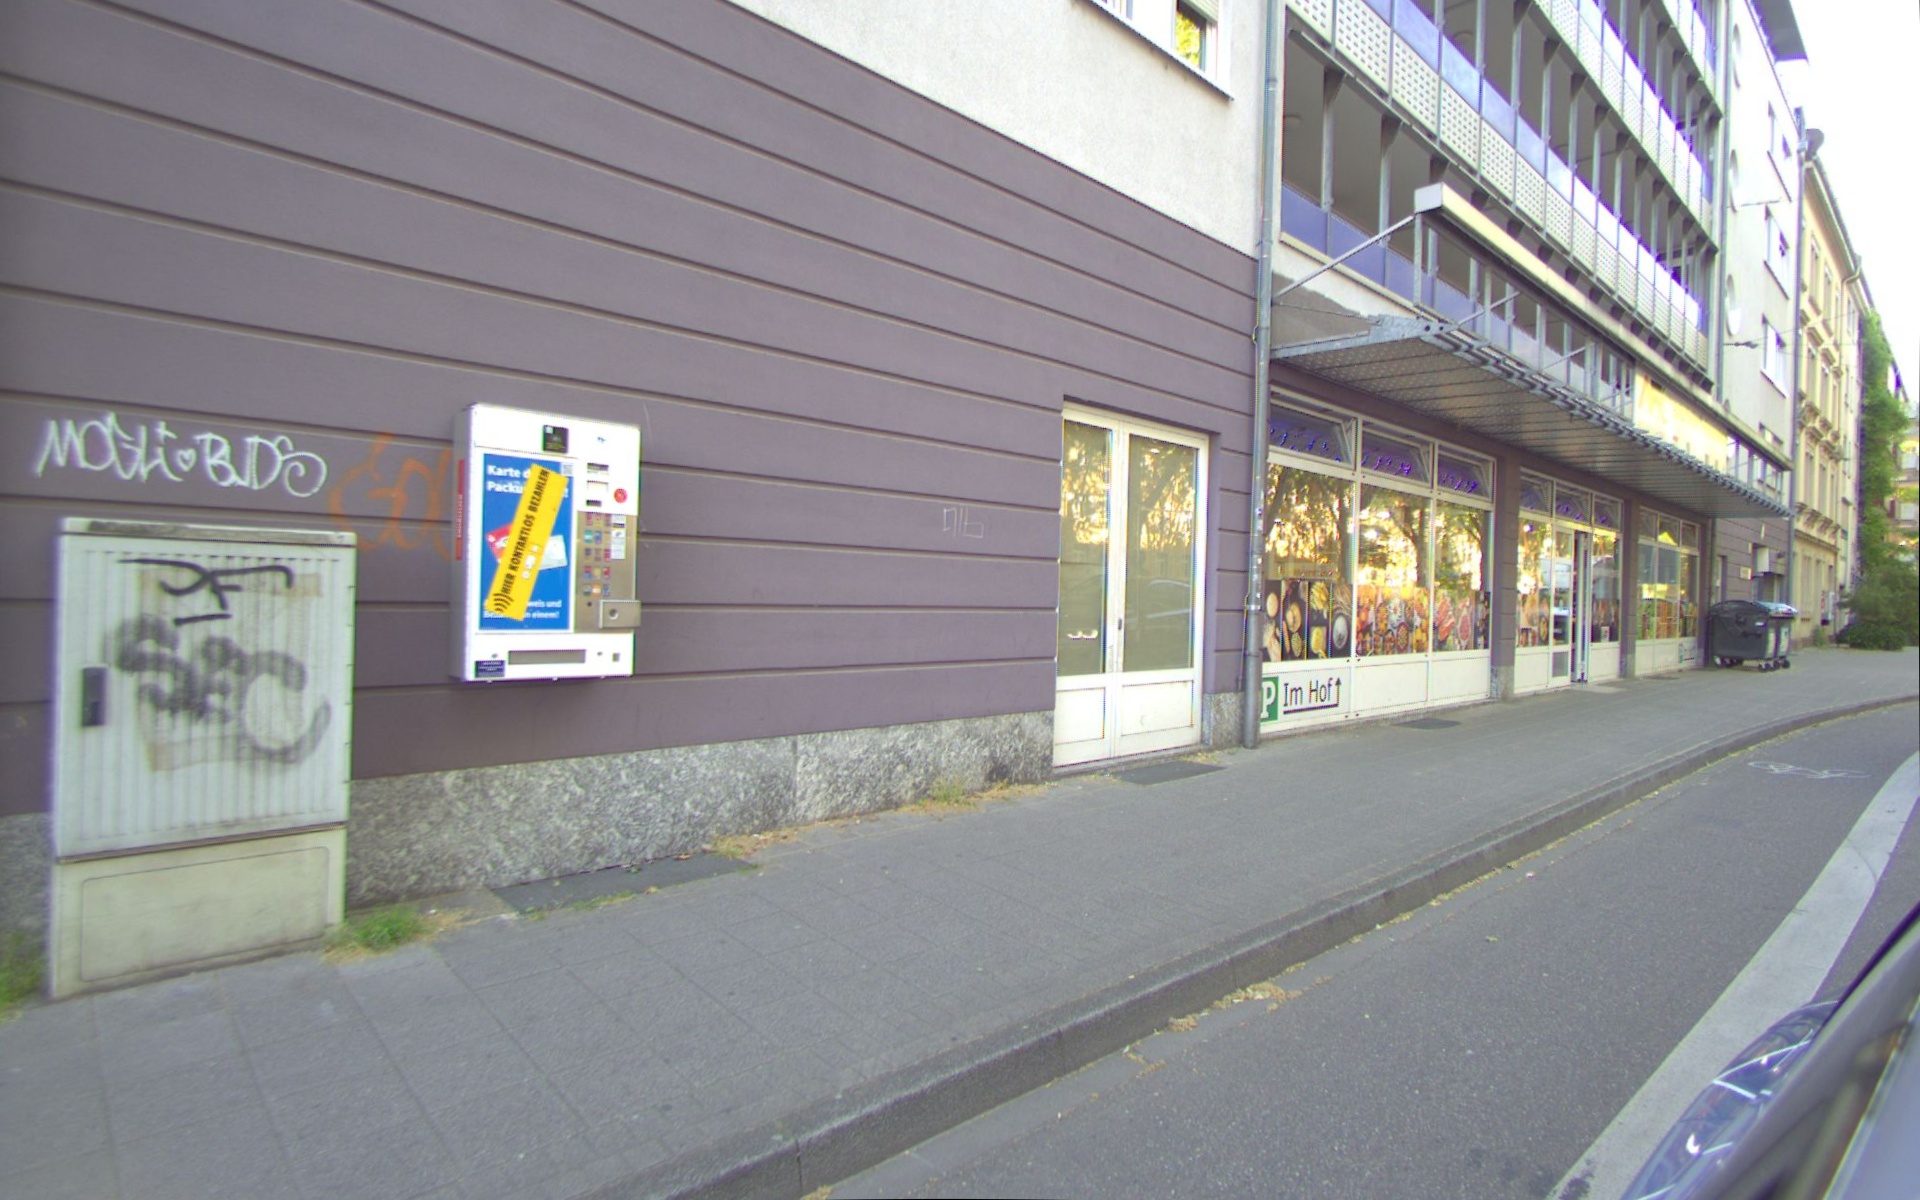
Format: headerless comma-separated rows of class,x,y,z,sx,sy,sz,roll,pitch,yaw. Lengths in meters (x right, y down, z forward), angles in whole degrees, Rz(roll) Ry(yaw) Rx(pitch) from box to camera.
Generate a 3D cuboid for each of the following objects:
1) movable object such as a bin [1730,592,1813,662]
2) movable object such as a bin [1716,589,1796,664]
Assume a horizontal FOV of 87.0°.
movable object such as a bin,17.765,0.568,22.154,1.282,1.464,1.123,1,1,-38
movable object such as a bin,16.416,0.531,20.867,1.274,1.465,1.068,1,1,-42
